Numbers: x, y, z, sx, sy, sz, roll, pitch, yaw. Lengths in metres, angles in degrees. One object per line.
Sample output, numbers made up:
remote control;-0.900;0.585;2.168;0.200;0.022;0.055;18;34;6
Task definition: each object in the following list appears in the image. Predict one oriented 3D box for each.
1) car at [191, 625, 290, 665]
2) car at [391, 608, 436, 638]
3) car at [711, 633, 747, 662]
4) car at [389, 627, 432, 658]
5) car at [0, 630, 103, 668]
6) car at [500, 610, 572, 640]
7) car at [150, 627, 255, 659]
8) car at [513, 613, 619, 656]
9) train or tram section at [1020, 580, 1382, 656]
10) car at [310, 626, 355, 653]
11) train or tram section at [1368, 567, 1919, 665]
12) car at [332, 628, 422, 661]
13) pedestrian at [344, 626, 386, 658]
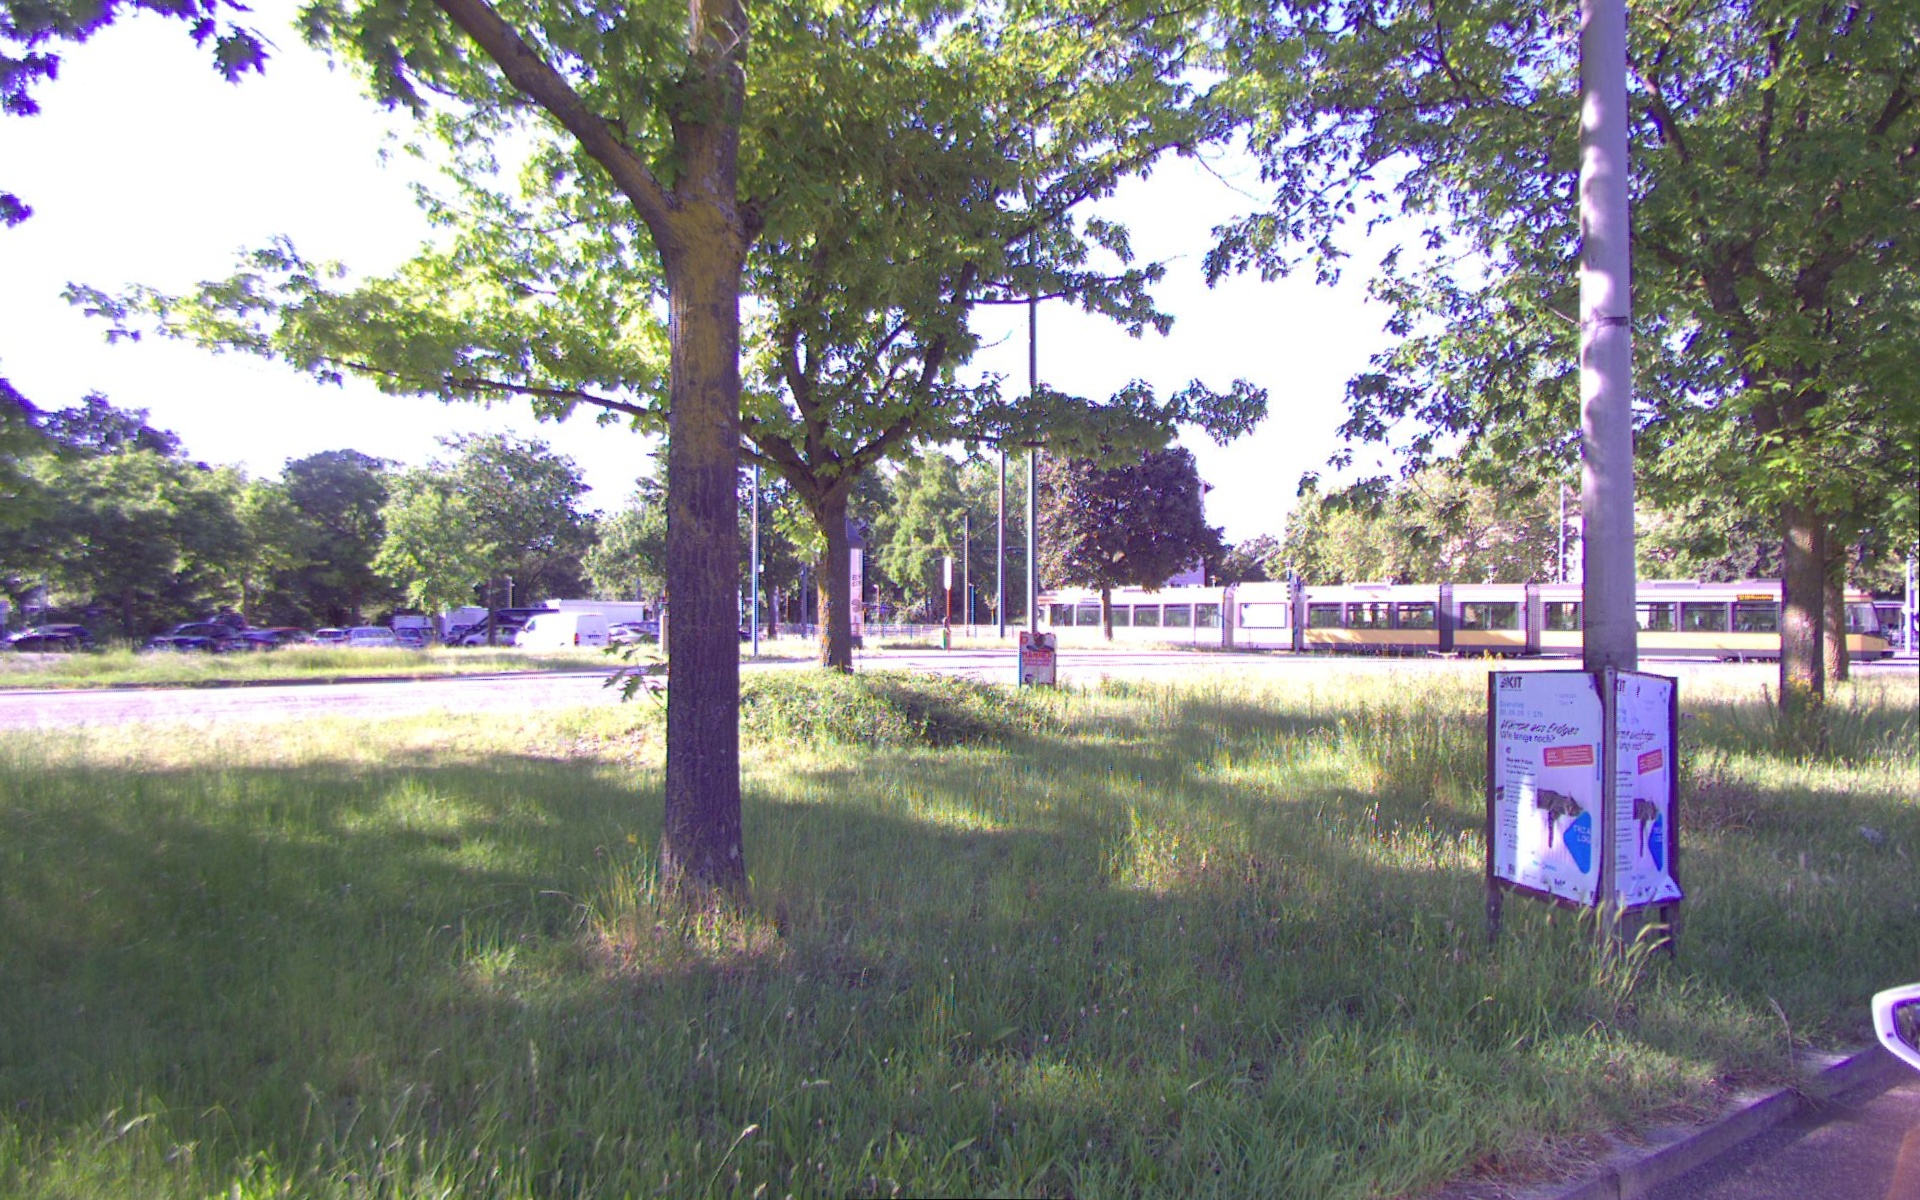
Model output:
car;-25.231;1.563;35.246;2.769;1.323;1.326;1;-1;-40
car;-32.486;1.366;59.788;1.865;1.691;3.733;1;-1;-22
car;-12.029;2.455;52.490;1.589;1.438;3.073;0;-1;-8
car;-26.700;2.029;48.781;1.602;1.438;3.050;1;-1;-33
car;-47.382;2.503;52.162;1.966;1.817;3.990;0;-1;32
car;-24.128;1.414;57.291;3.698;1.691;1.883;1;-1;-23
car;-26.840;1.504;35.631;1.315;1.078;2.777;-1;-1;42
car;-17.216;1.475;43.803;4.670;1.762;2.024;0;-1;34
train or tram section;12.161;0.919;53.765;19.067;3.559;3.295;0;-1;36
car;-29.292;1.825;46.867;1.603;1.194;3.047;1;-1;-35
train or tram section;29.086;0.665;44.455;20.409;3.820;3.305;0;-1;23
car;-21.824;1.634;37.636;2.769;1.171;1.326;1;-1;-40
pedestrian;-24.790;1.755;41.851;1.130;1.292;1.105;0;-1;33
